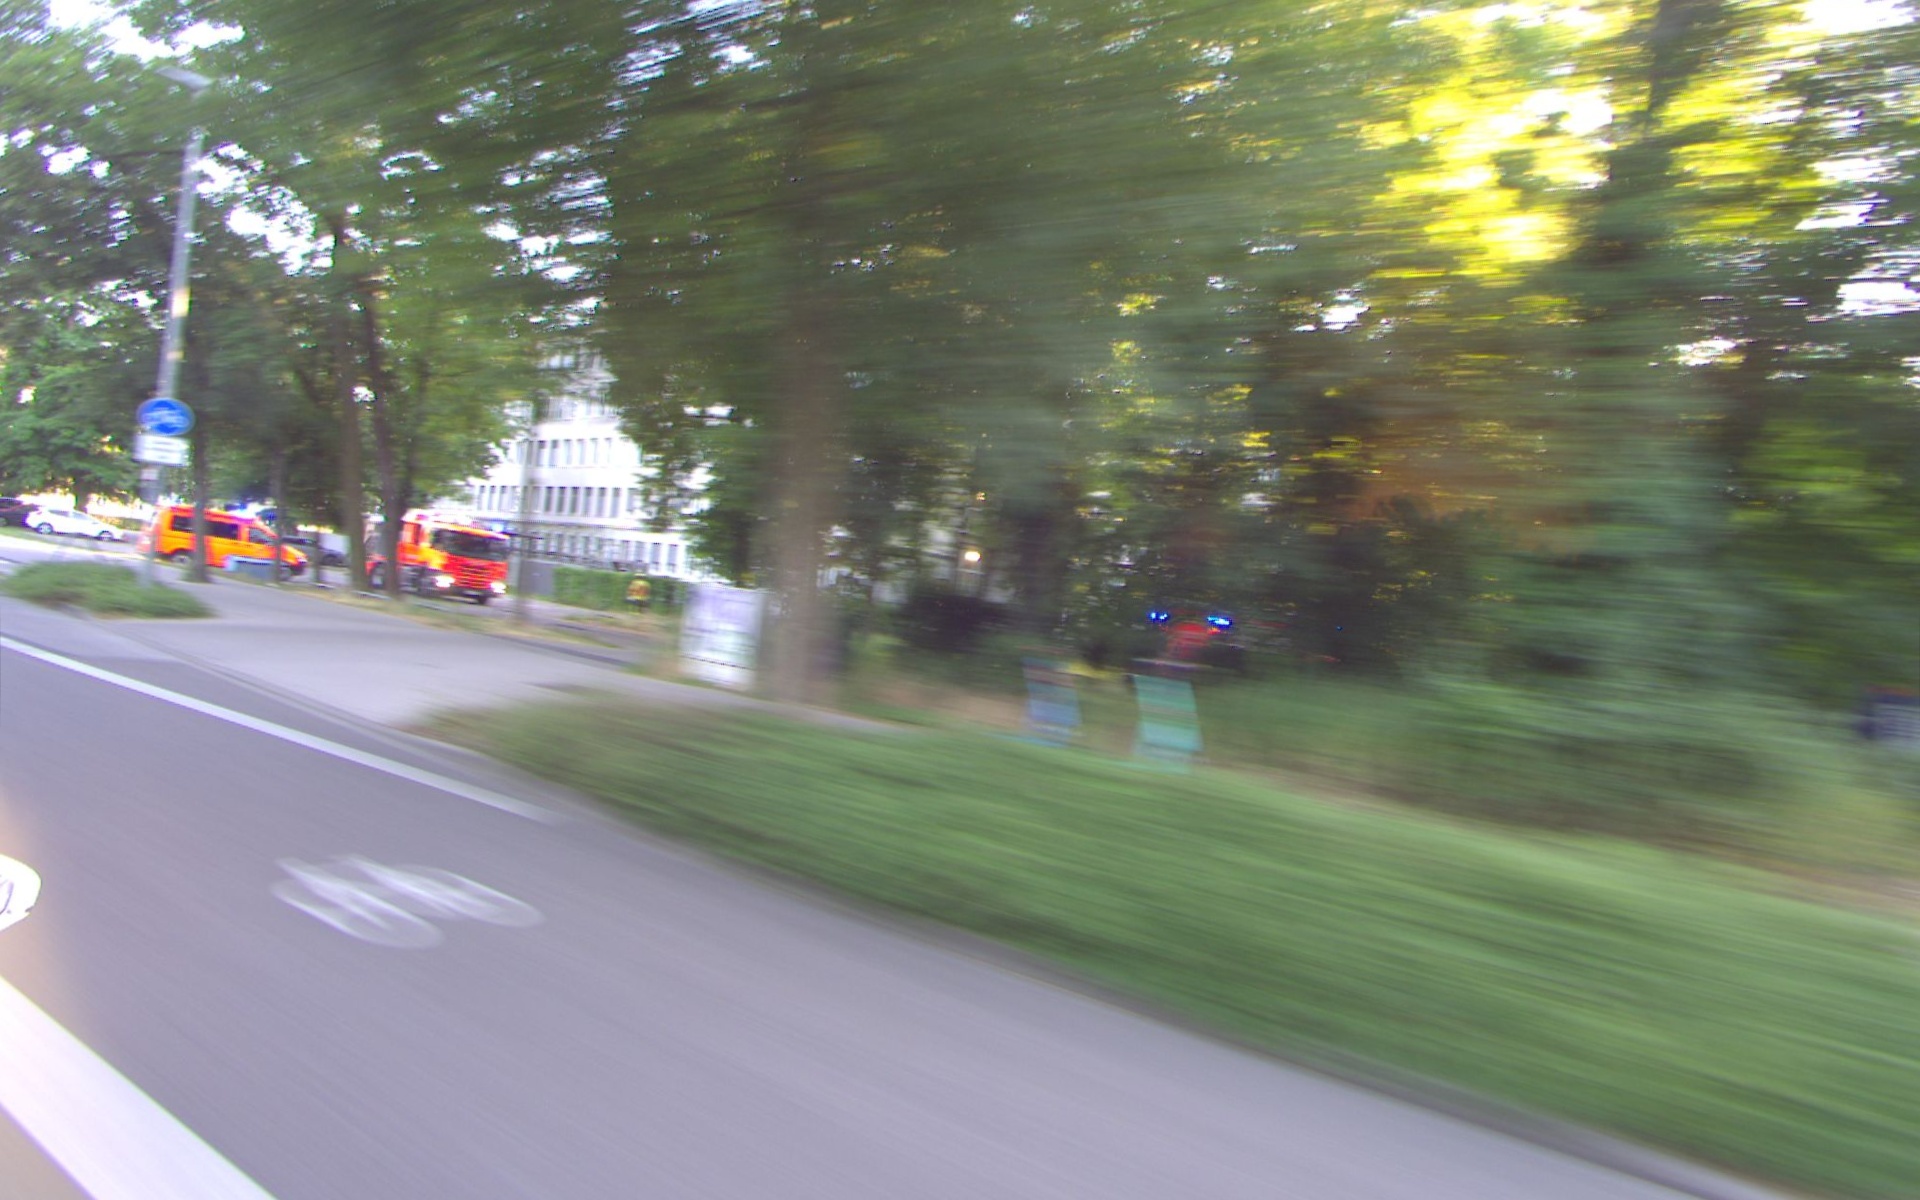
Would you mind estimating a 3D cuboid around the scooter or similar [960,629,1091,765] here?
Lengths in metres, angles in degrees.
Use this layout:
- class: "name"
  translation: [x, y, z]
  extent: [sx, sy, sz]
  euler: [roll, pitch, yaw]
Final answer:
- class: "scooter or similar"
  translation: [0.714, 1.034, 11.002]
  extent: [1.209, 1.298, 0.483]
  euler: [7, 2, 26]

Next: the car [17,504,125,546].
- class: "car"
  translation: [-47.848, -4.023, 54.201]
  extent: [1.883, 1.555, 3.988]
  euler: [6, -2, 38]

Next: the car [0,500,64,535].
- class: "car"
  translation: [-59.822, -5.306, 63.982]
  extent: [1.809, 1.714, 3.898]
  euler: [6, -2, 38]

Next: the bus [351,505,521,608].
- class: "bus"
  translation: [-20.456, -1.777, 39.042]
  extent: [7.855, 3.233, 2.985]
  euler: [6, -2, 42]

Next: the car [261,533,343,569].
- class: "car"
  translation: [-42.050, -3.118, 64.350]
  extent: [1.888, 1.635, 3.982]
  euler: [5, -3, 43]

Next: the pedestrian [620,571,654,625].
- class: "pedestrian"
  translation: [-12.999, -0.068, 40.515]
  extent: [0.770, 2.037, 0.762]
  euler: [6, -1, 31]

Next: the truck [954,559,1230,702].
- class: "truck"
  translation: [4.142, 1.021, 29.815]
  extent: [8.599, 3.250, 2.731]
  euler: [8, -1, -40]

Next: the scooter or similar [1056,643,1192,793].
- class: "scooter or similar"
  translation: [1.627, 1.139, 9.988]
  extent: [1.120, 1.298, 0.483]
  euler: [7, 2, 26]

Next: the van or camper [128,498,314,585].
- class: "van or camper"
  translation: [-26.176, -2.051, 35.750]
  extent: [2.264, 2.270, 4.808]
  euler: [6, -2, 42]

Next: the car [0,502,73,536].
- class: "car"
  translation: [-57.585, -5.073, 62.107]
  extent: [1.760, 1.580, 3.983]
  euler: [6, -1, 41]

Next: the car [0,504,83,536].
- class: "car"
  translation: [-55.366, -4.798, 59.754]
  extent: [1.872, 1.466, 4.566]
  euler: [4, -1, 37]
